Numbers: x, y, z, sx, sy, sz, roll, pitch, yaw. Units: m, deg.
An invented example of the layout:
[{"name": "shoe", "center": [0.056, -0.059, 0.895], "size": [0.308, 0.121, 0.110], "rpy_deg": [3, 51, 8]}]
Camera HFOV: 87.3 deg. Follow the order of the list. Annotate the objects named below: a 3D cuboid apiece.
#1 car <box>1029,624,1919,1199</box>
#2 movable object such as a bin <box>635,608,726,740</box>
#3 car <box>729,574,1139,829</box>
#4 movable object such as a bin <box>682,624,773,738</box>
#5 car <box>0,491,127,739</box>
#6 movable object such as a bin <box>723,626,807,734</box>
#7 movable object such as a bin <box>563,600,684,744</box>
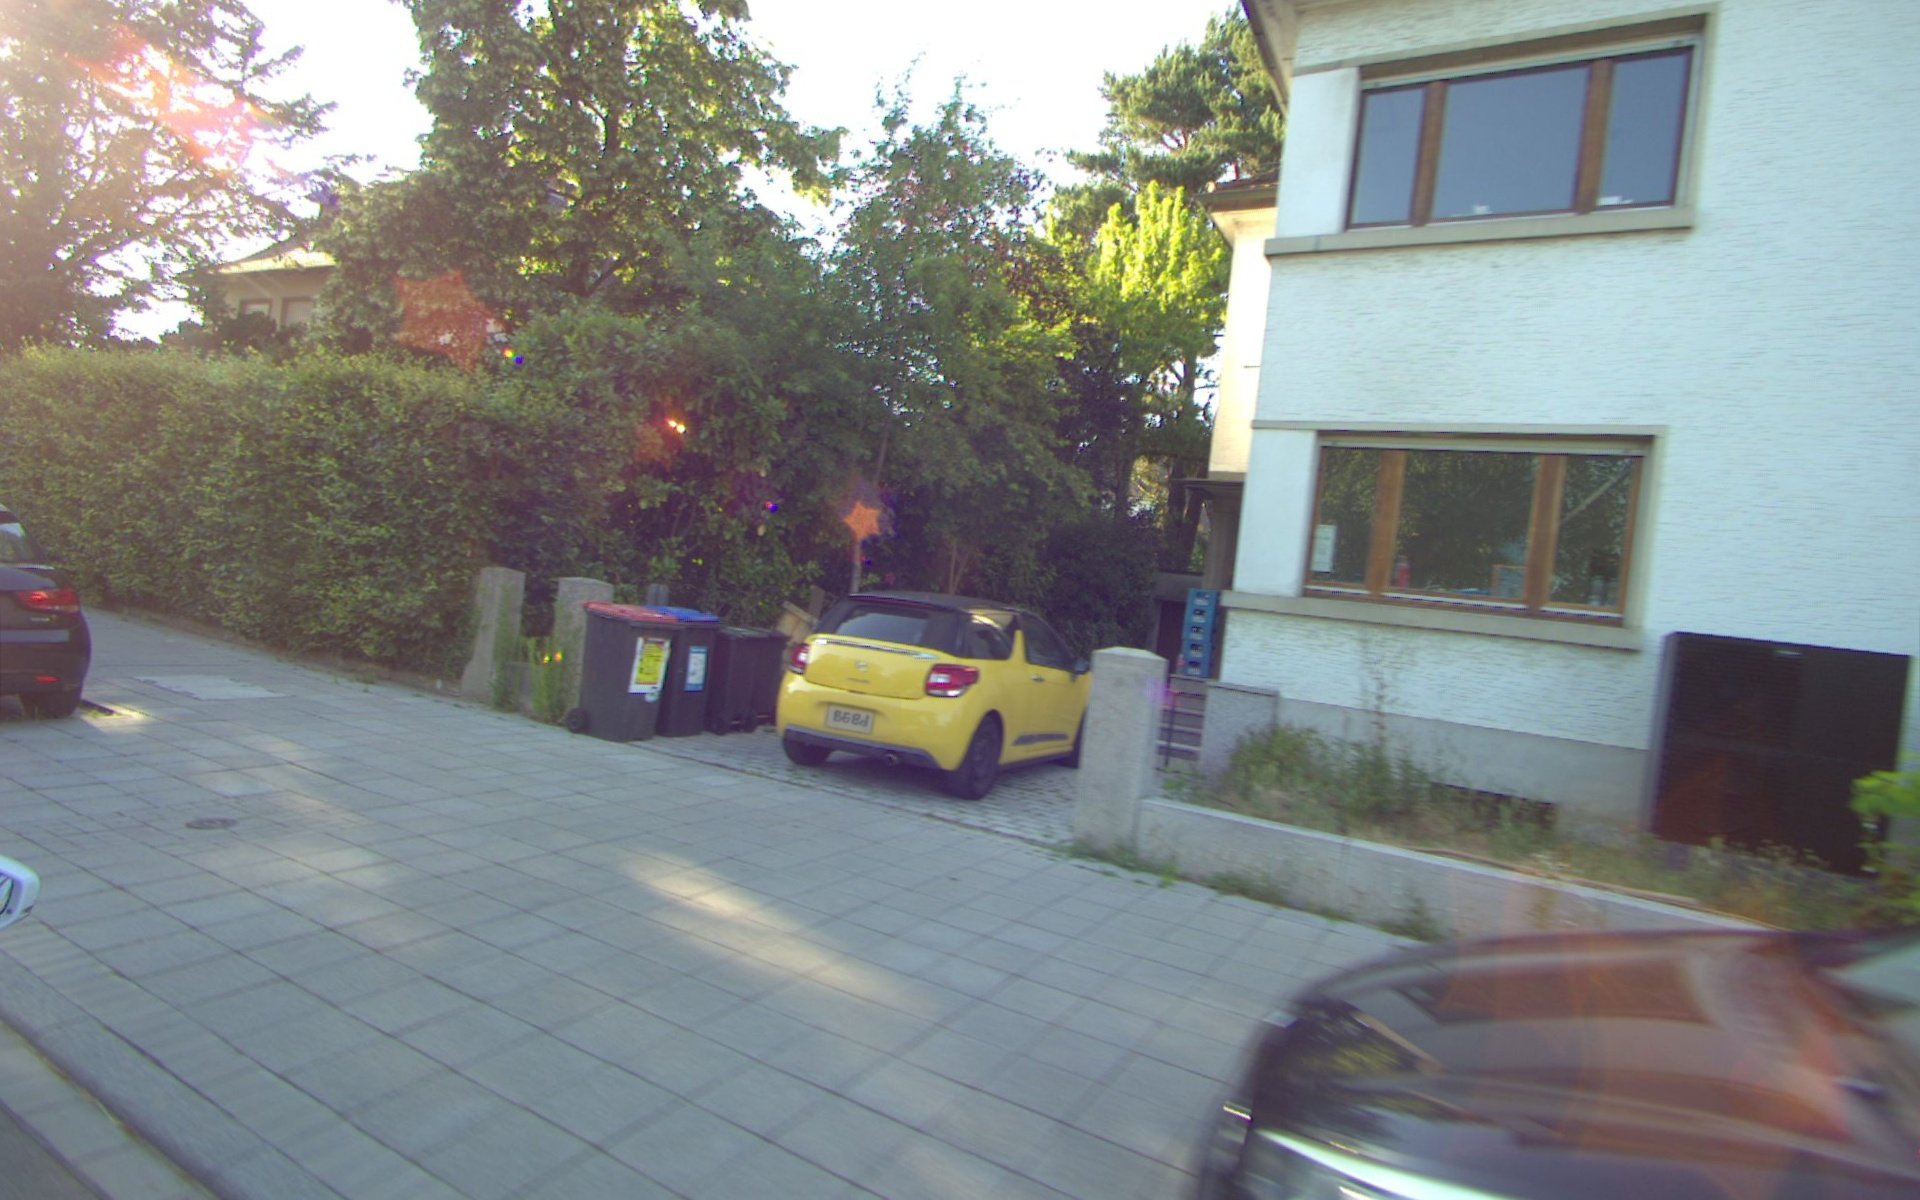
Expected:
[{"name": "car", "center": [2.330, 1.024, 1.143], "size": [4.182, 1.494, 1.748], "rpy_deg": [7, 2, 29]}, {"name": "movable object such as a bin", "center": [-2.393, 0.635, 8.641], "size": [0.409, 1.055, 0.509], "rpy_deg": [7, 0, 24]}, {"name": "car", "center": [0.010, 0.742, 8.567], "size": [1.751, 1.515, 3.638], "rpy_deg": [7, 1, 29]}, {"name": "movable object such as a bin", "center": [-2.110, 0.732, 9.151], "size": [0.493, 0.955, 0.509], "rpy_deg": [7, 0, 24]}, {"name": "car", "center": [-7.395, -0.110, 6.594], "size": [3.869, 1.446, 1.643], "rpy_deg": [7, 1, 29]}, {"name": "movable object such as a bin", "center": [-1.873, 0.764, 9.695], "size": [0.481, 0.955, 0.509], "rpy_deg": [7, 0, 24]}, {"name": "movable object such as a bin", "center": [-2.734, 0.581, 8.186], "size": [0.647, 1.055, 0.509], "rpy_deg": [7, 0, 24]}]
